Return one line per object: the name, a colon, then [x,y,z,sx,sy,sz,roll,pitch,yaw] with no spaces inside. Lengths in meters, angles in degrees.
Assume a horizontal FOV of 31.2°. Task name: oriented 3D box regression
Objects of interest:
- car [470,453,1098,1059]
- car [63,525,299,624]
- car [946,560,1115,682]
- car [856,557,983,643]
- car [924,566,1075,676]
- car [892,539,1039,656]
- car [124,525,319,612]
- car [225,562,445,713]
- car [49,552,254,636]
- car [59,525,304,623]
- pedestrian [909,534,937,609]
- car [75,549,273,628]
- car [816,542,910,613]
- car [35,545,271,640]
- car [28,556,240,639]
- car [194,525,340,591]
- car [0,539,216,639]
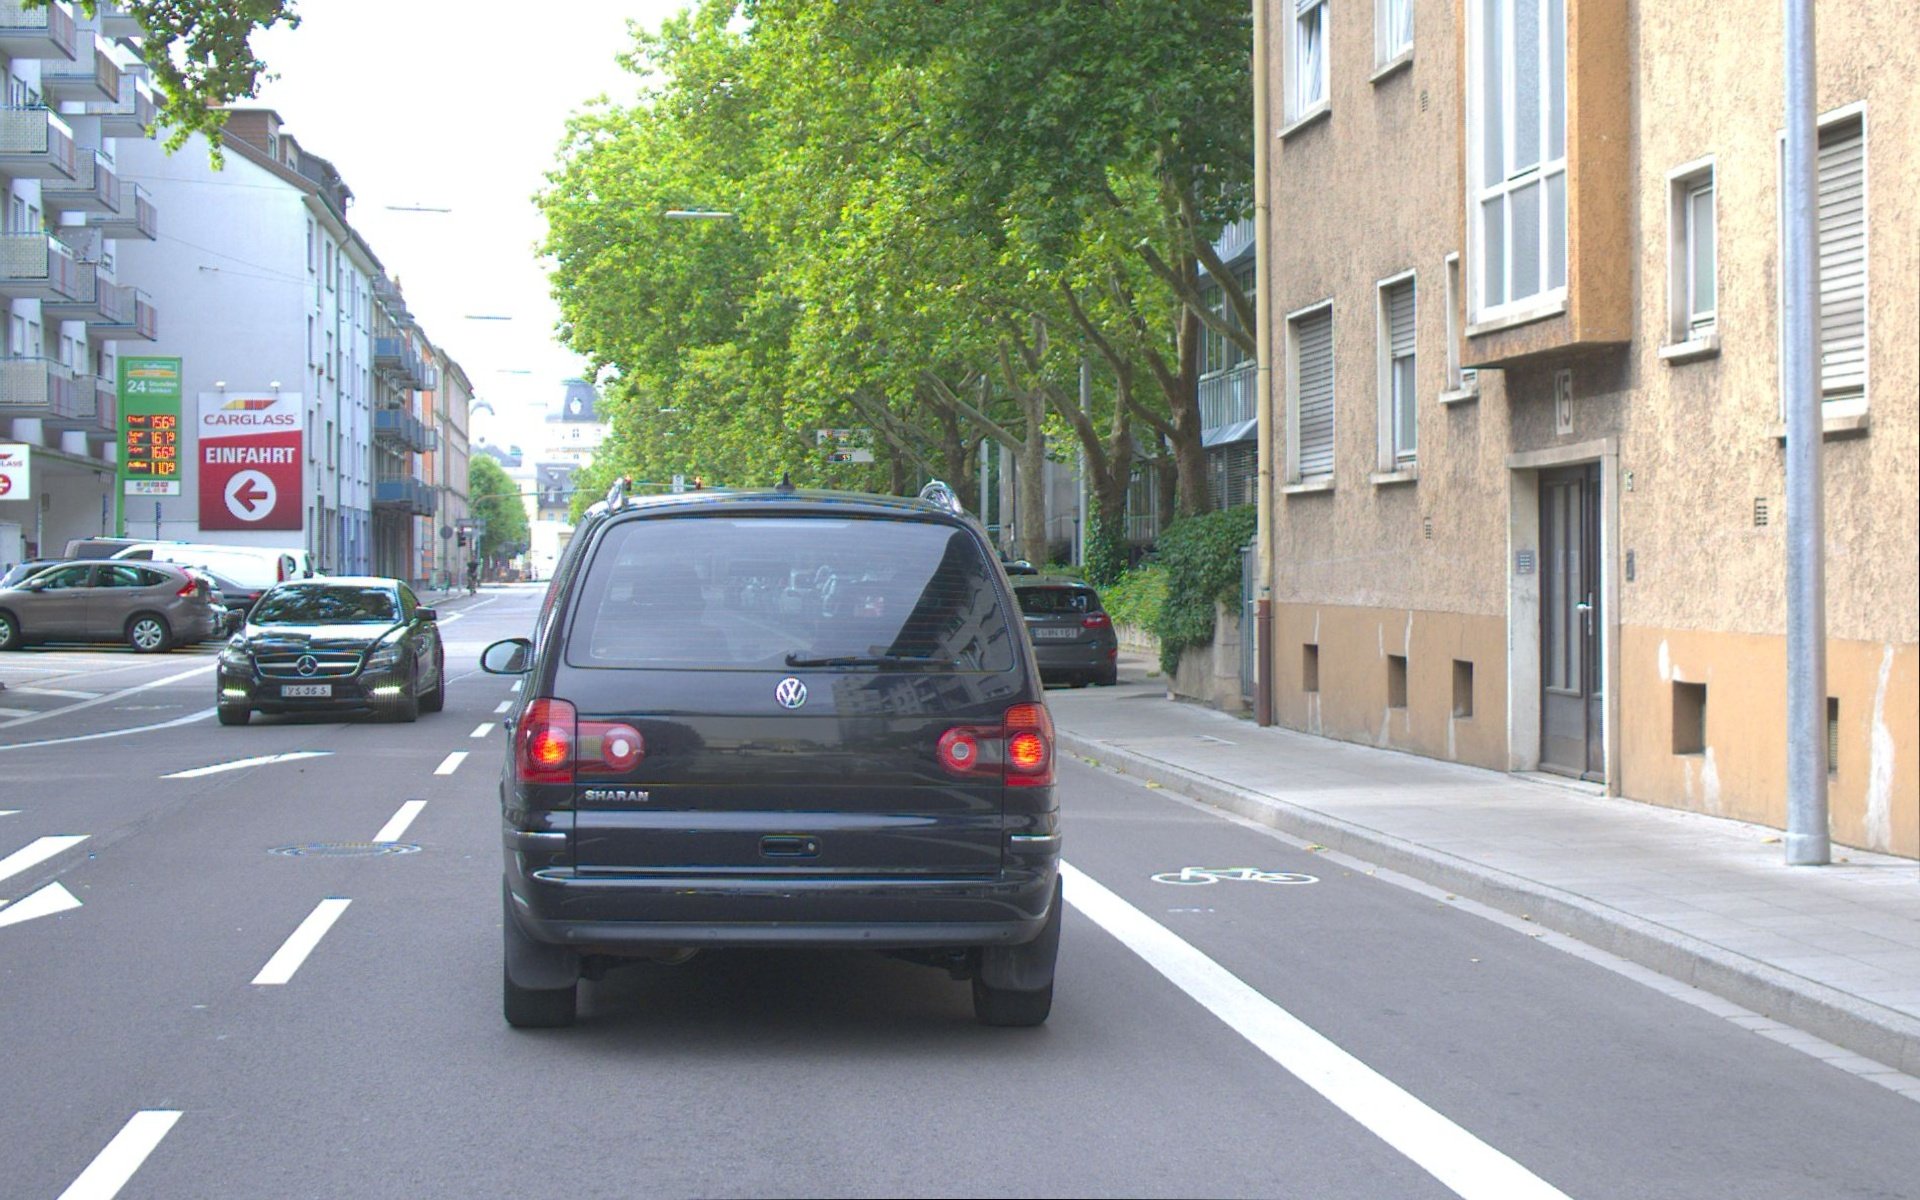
car: [-0.697,0.417,11.947,1.812,1.760,3.739,1,1,-6]
car: [-16.299,-0.538,72.141,4.525,1.872,2.047,2,0,-5]
car: [0.847,0.231,43.558,1.657,1.417,3.867,0,2,-6]
car: [-0.728,-0.011,58.308,1.675,1.389,4.462,0,0,-7]
car: [0.513,0.264,48.192,1.657,1.417,3.948,0,2,-6]
car: [0.045,-0.076,53.495,1.657,1.645,4.421,2,1,-8]
car: [-17.453,-0.742,81.434,4.306,1.863,1.824,2,0,-7]
car: [-6.176,0.324,34.395,1.810,1.403,4.609,0,1,-6]
car: [-15.832,-0.116,67.435,3.681,1.480,1.754,2,1,-7]
car: [-16.868,-0.569,74.648,4.915,1.897,2.000,2,0,-6]
pedestrian: [-0.979,-0.767,91.568,0.642,1.968,0.692,2,2,-5]
car: [-15.877,-0.240,69.560,3.681,1.440,1.754,2,1,-6]
car: [-2.114,-0.485,73.951,1.629,1.465,4.318,0,0,-7]
car: [-14.818,-0.144,63.280,3.940,1.564,1.753,2,1,-3]
car: [-15.716,-0.058,65.547,3.681,1.422,1.754,2,1,-7]
car: [-16.868,-1.017,83.837,3.342,1.491,1.596,2,0,-7]
car: [-15.467,-0.214,60.772,4.256,1.600,1.968,2,2,-5]
